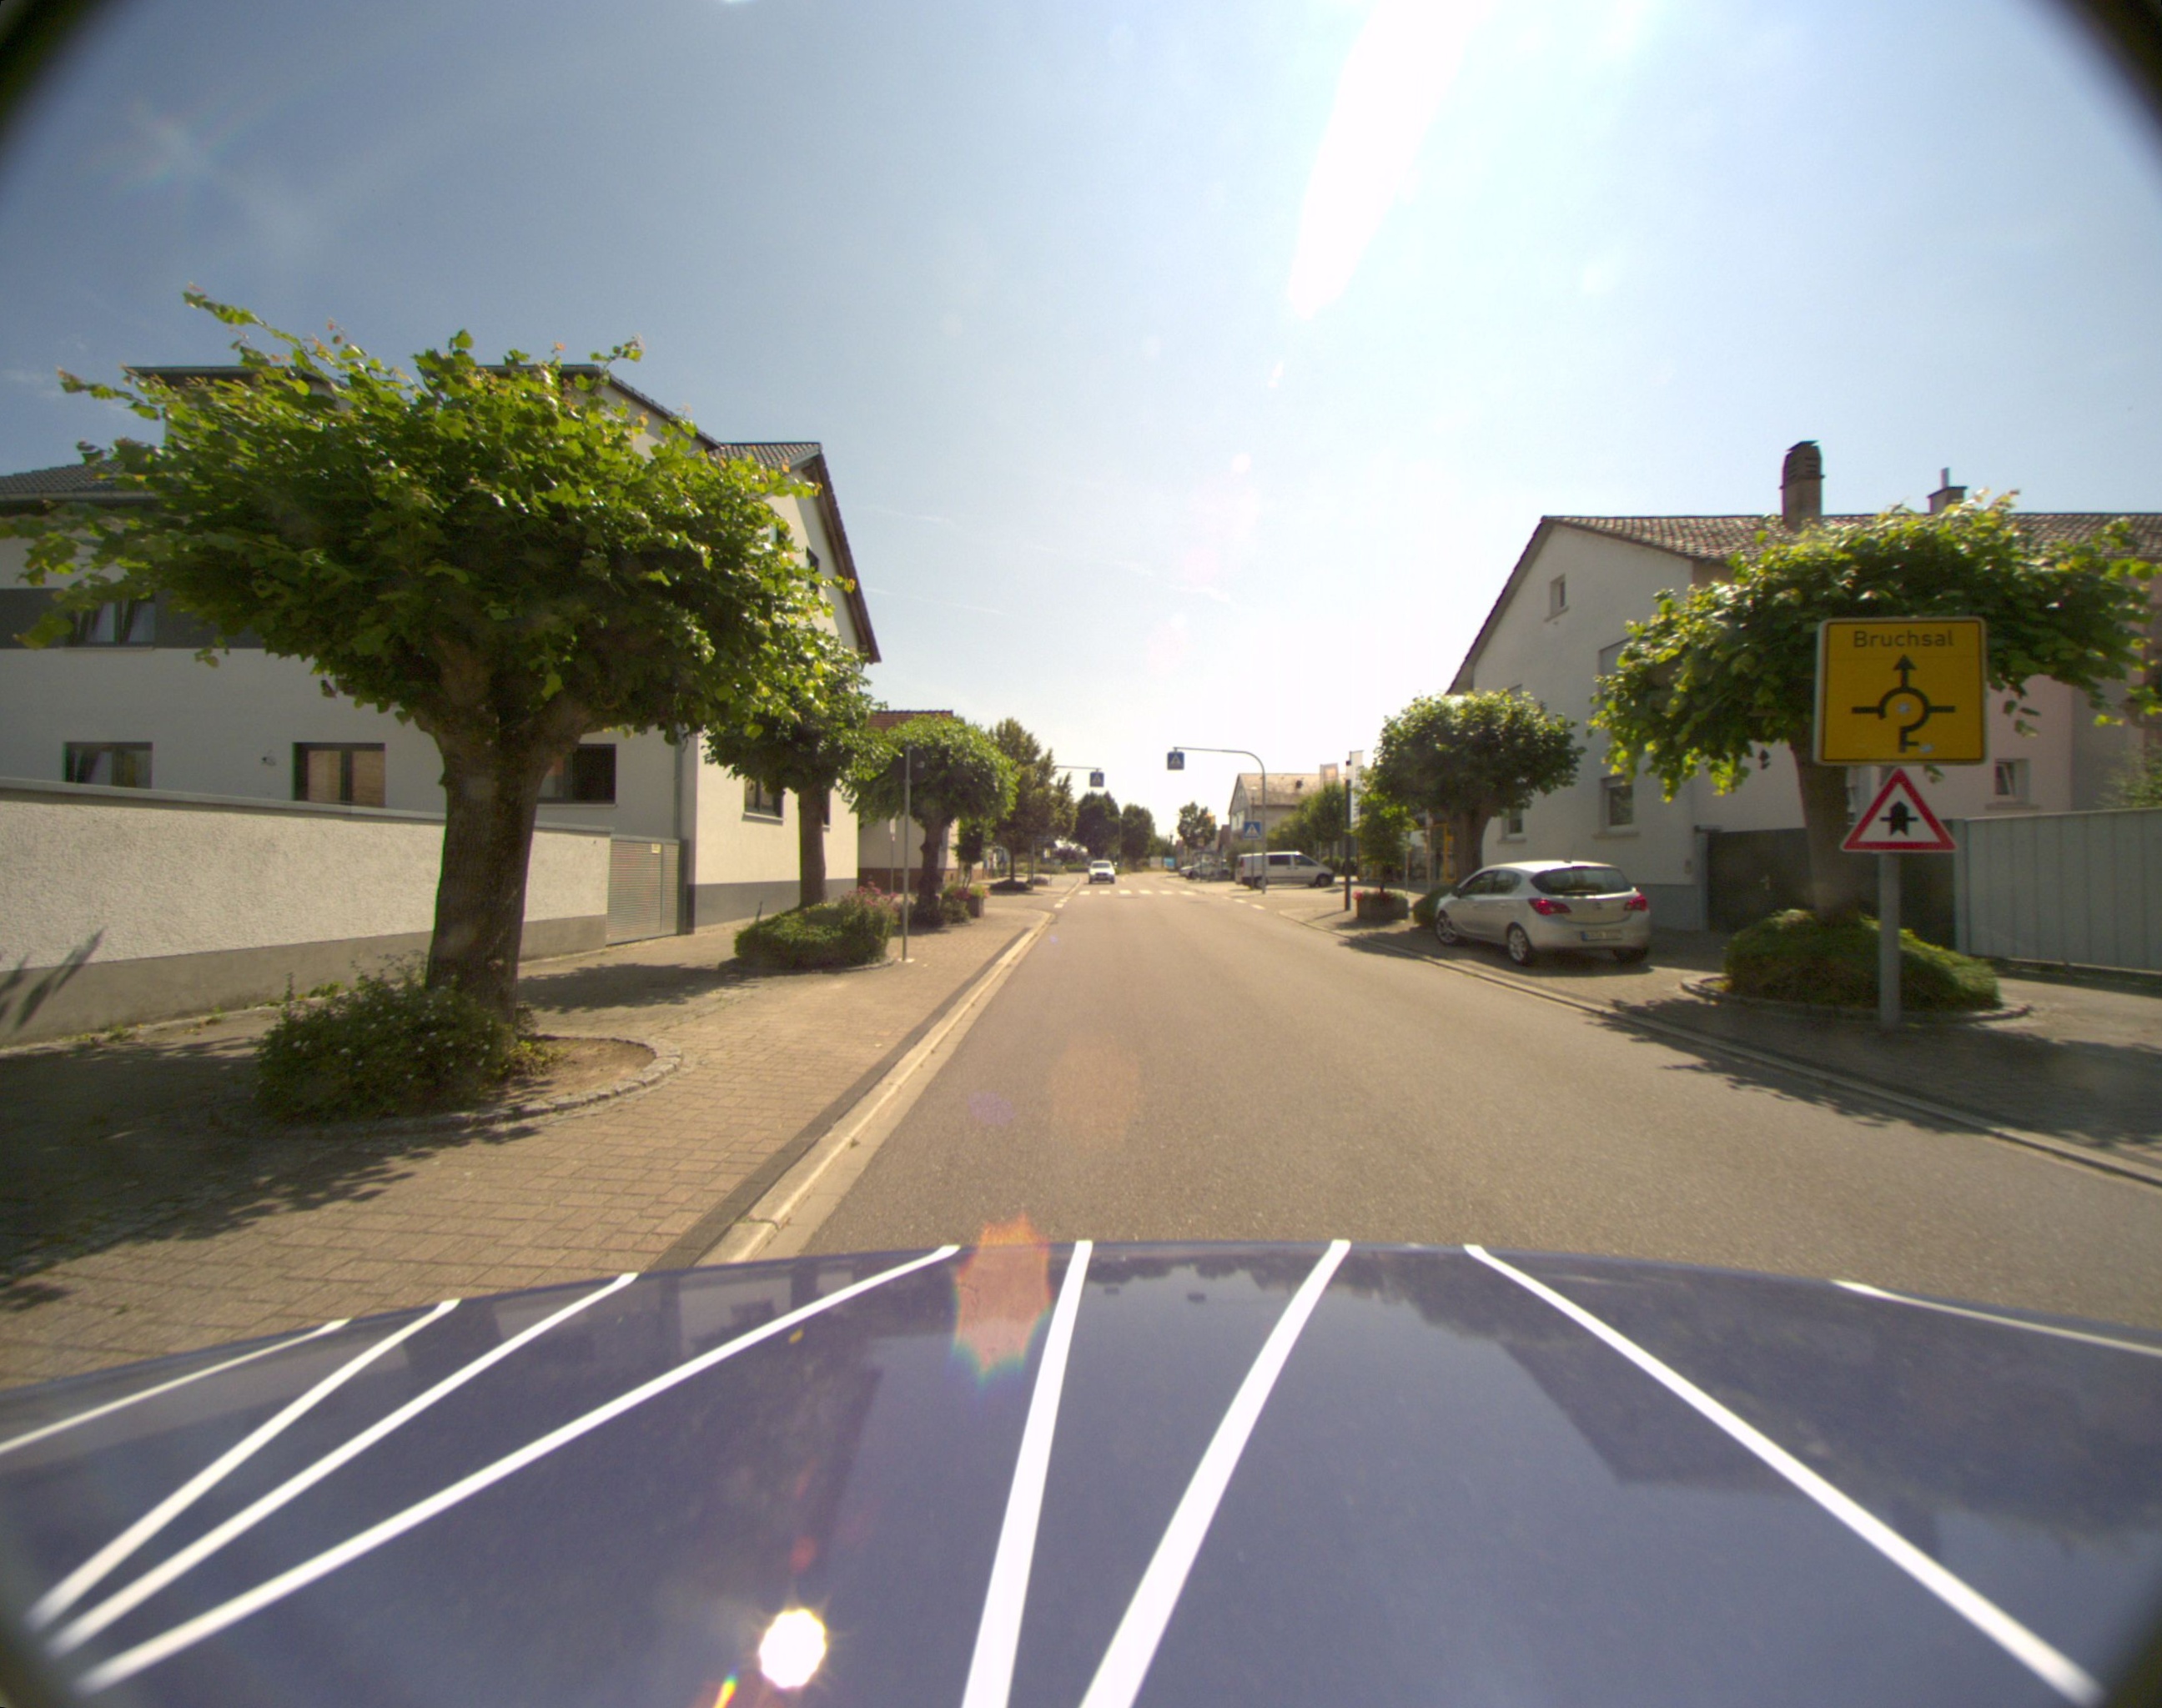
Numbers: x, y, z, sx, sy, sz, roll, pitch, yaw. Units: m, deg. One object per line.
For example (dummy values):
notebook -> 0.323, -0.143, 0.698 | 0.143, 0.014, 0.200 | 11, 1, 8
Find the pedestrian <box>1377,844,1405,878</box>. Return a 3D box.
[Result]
pedestrian -> 16.415, 0.359, 40.187 | 1.072, 1.764, 0.932 | -1, 1, -35

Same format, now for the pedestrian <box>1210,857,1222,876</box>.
pedestrian -> 10.048, 0.926, 56.575 | 0.787, 1.350, 0.607 | -1, 0, 2

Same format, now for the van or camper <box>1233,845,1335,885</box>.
van or camper -> 10.597, 0.573, 39.866 | 4.752, 1.851, 2.000 | -2, 0, 1

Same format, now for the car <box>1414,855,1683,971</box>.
car -> 7.143, 0.792, 12.202 | 1.829, 1.474, 4.133 | -2, 0, 2

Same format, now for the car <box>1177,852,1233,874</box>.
car -> 10.469, 0.735, 64.189 | 4.251, 1.709, 1.945 | -2, 0, -4

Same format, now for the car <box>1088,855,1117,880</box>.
car -> 1.560, 0.897, 52.987 | 1.857, 1.603, 4.136 | -2, 0, 3
